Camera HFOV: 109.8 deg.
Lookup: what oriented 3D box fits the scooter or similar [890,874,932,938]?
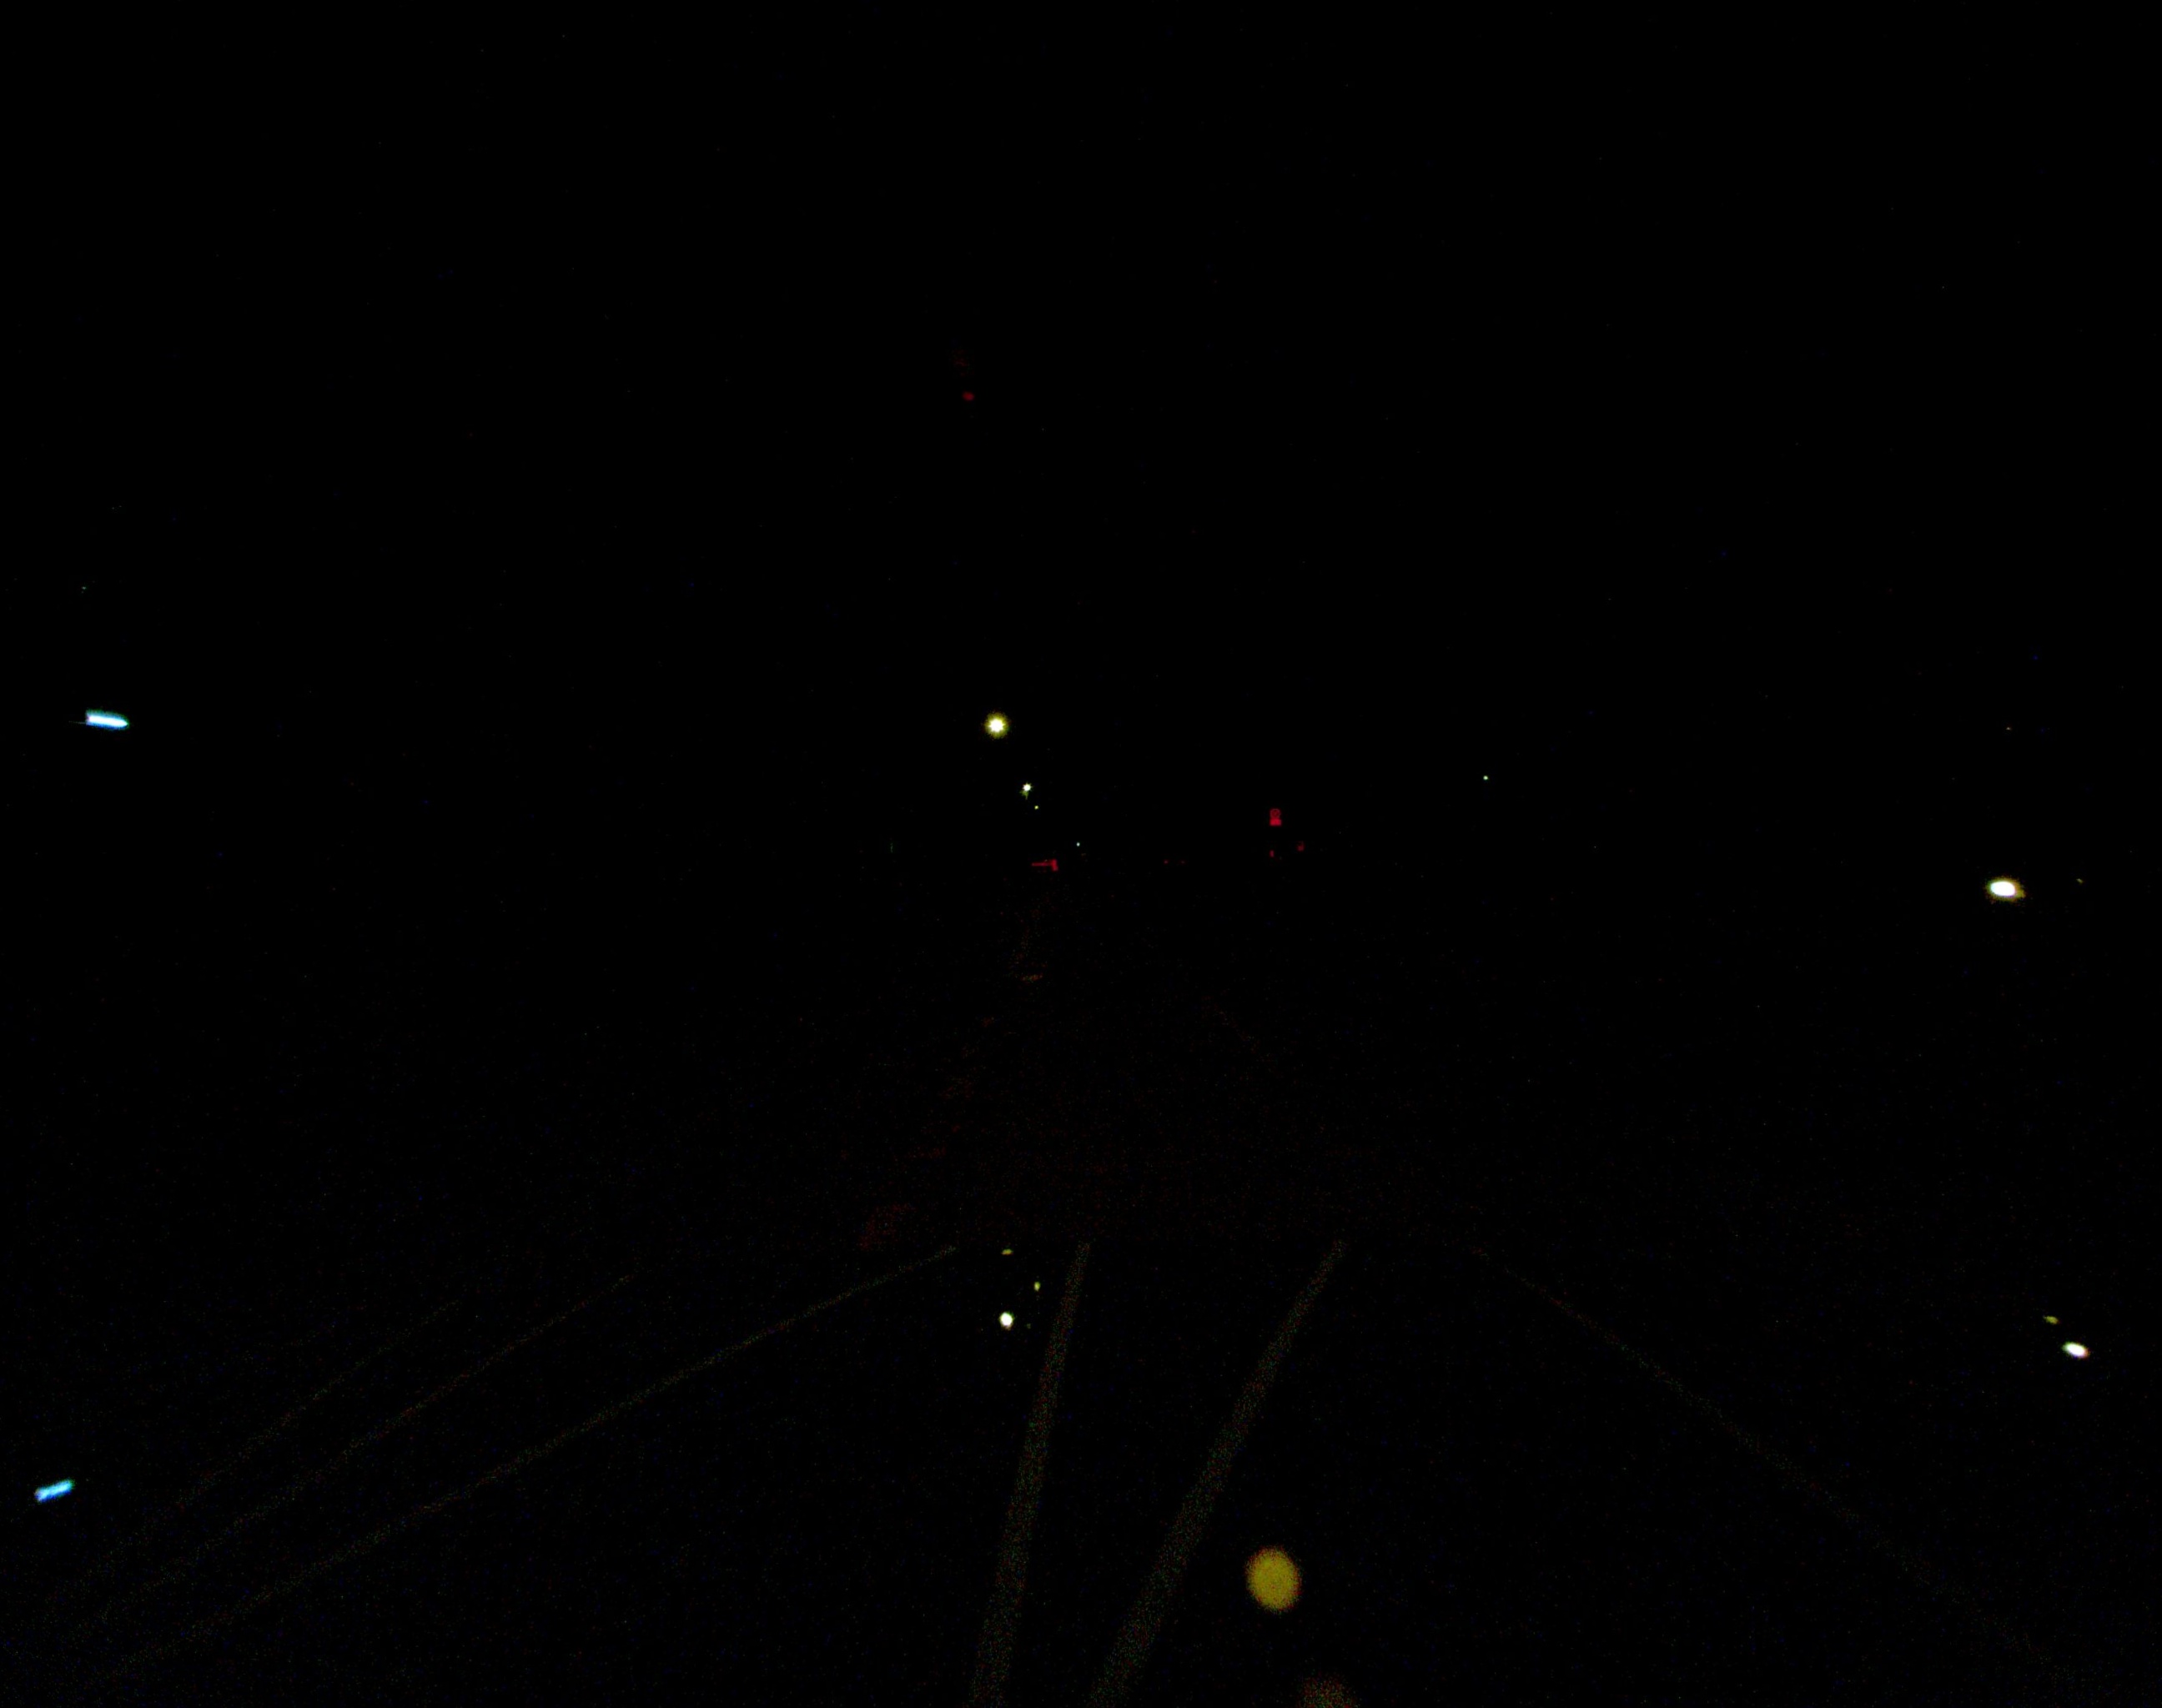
[{"bbox_3d":[-3.544,1.060,15.925,0.570,1.271,1.391,0,0,0],"label":"scooter or similar"}]

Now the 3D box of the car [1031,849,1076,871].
[{"bbox_3d":[-2.560,0.559,70.423,3.997,1.821,1.912,-3,2,1],"label":"car"}]

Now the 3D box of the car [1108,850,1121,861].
[{"bbox_3d":[5.124,0.237,117.546,1.911,1.445,3.999,-2,2,1],"label":"car"}]

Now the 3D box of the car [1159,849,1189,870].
[{"bbox_3d":[7.382,0.381,60.684,1.911,1.445,3.999,-2,2,1],"label":"car"}]

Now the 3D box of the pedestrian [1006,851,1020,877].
[{"bbox_3d":[-4.844,0.677,54.047,0.824,1.809,0.608,-2,1,1],"label":"pedestrian"}]

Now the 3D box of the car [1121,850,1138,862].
[{"bbox_3d":[6.359,0.222,100.164,1.911,1.445,3.999,-2,2,1],"label":"car"}]
